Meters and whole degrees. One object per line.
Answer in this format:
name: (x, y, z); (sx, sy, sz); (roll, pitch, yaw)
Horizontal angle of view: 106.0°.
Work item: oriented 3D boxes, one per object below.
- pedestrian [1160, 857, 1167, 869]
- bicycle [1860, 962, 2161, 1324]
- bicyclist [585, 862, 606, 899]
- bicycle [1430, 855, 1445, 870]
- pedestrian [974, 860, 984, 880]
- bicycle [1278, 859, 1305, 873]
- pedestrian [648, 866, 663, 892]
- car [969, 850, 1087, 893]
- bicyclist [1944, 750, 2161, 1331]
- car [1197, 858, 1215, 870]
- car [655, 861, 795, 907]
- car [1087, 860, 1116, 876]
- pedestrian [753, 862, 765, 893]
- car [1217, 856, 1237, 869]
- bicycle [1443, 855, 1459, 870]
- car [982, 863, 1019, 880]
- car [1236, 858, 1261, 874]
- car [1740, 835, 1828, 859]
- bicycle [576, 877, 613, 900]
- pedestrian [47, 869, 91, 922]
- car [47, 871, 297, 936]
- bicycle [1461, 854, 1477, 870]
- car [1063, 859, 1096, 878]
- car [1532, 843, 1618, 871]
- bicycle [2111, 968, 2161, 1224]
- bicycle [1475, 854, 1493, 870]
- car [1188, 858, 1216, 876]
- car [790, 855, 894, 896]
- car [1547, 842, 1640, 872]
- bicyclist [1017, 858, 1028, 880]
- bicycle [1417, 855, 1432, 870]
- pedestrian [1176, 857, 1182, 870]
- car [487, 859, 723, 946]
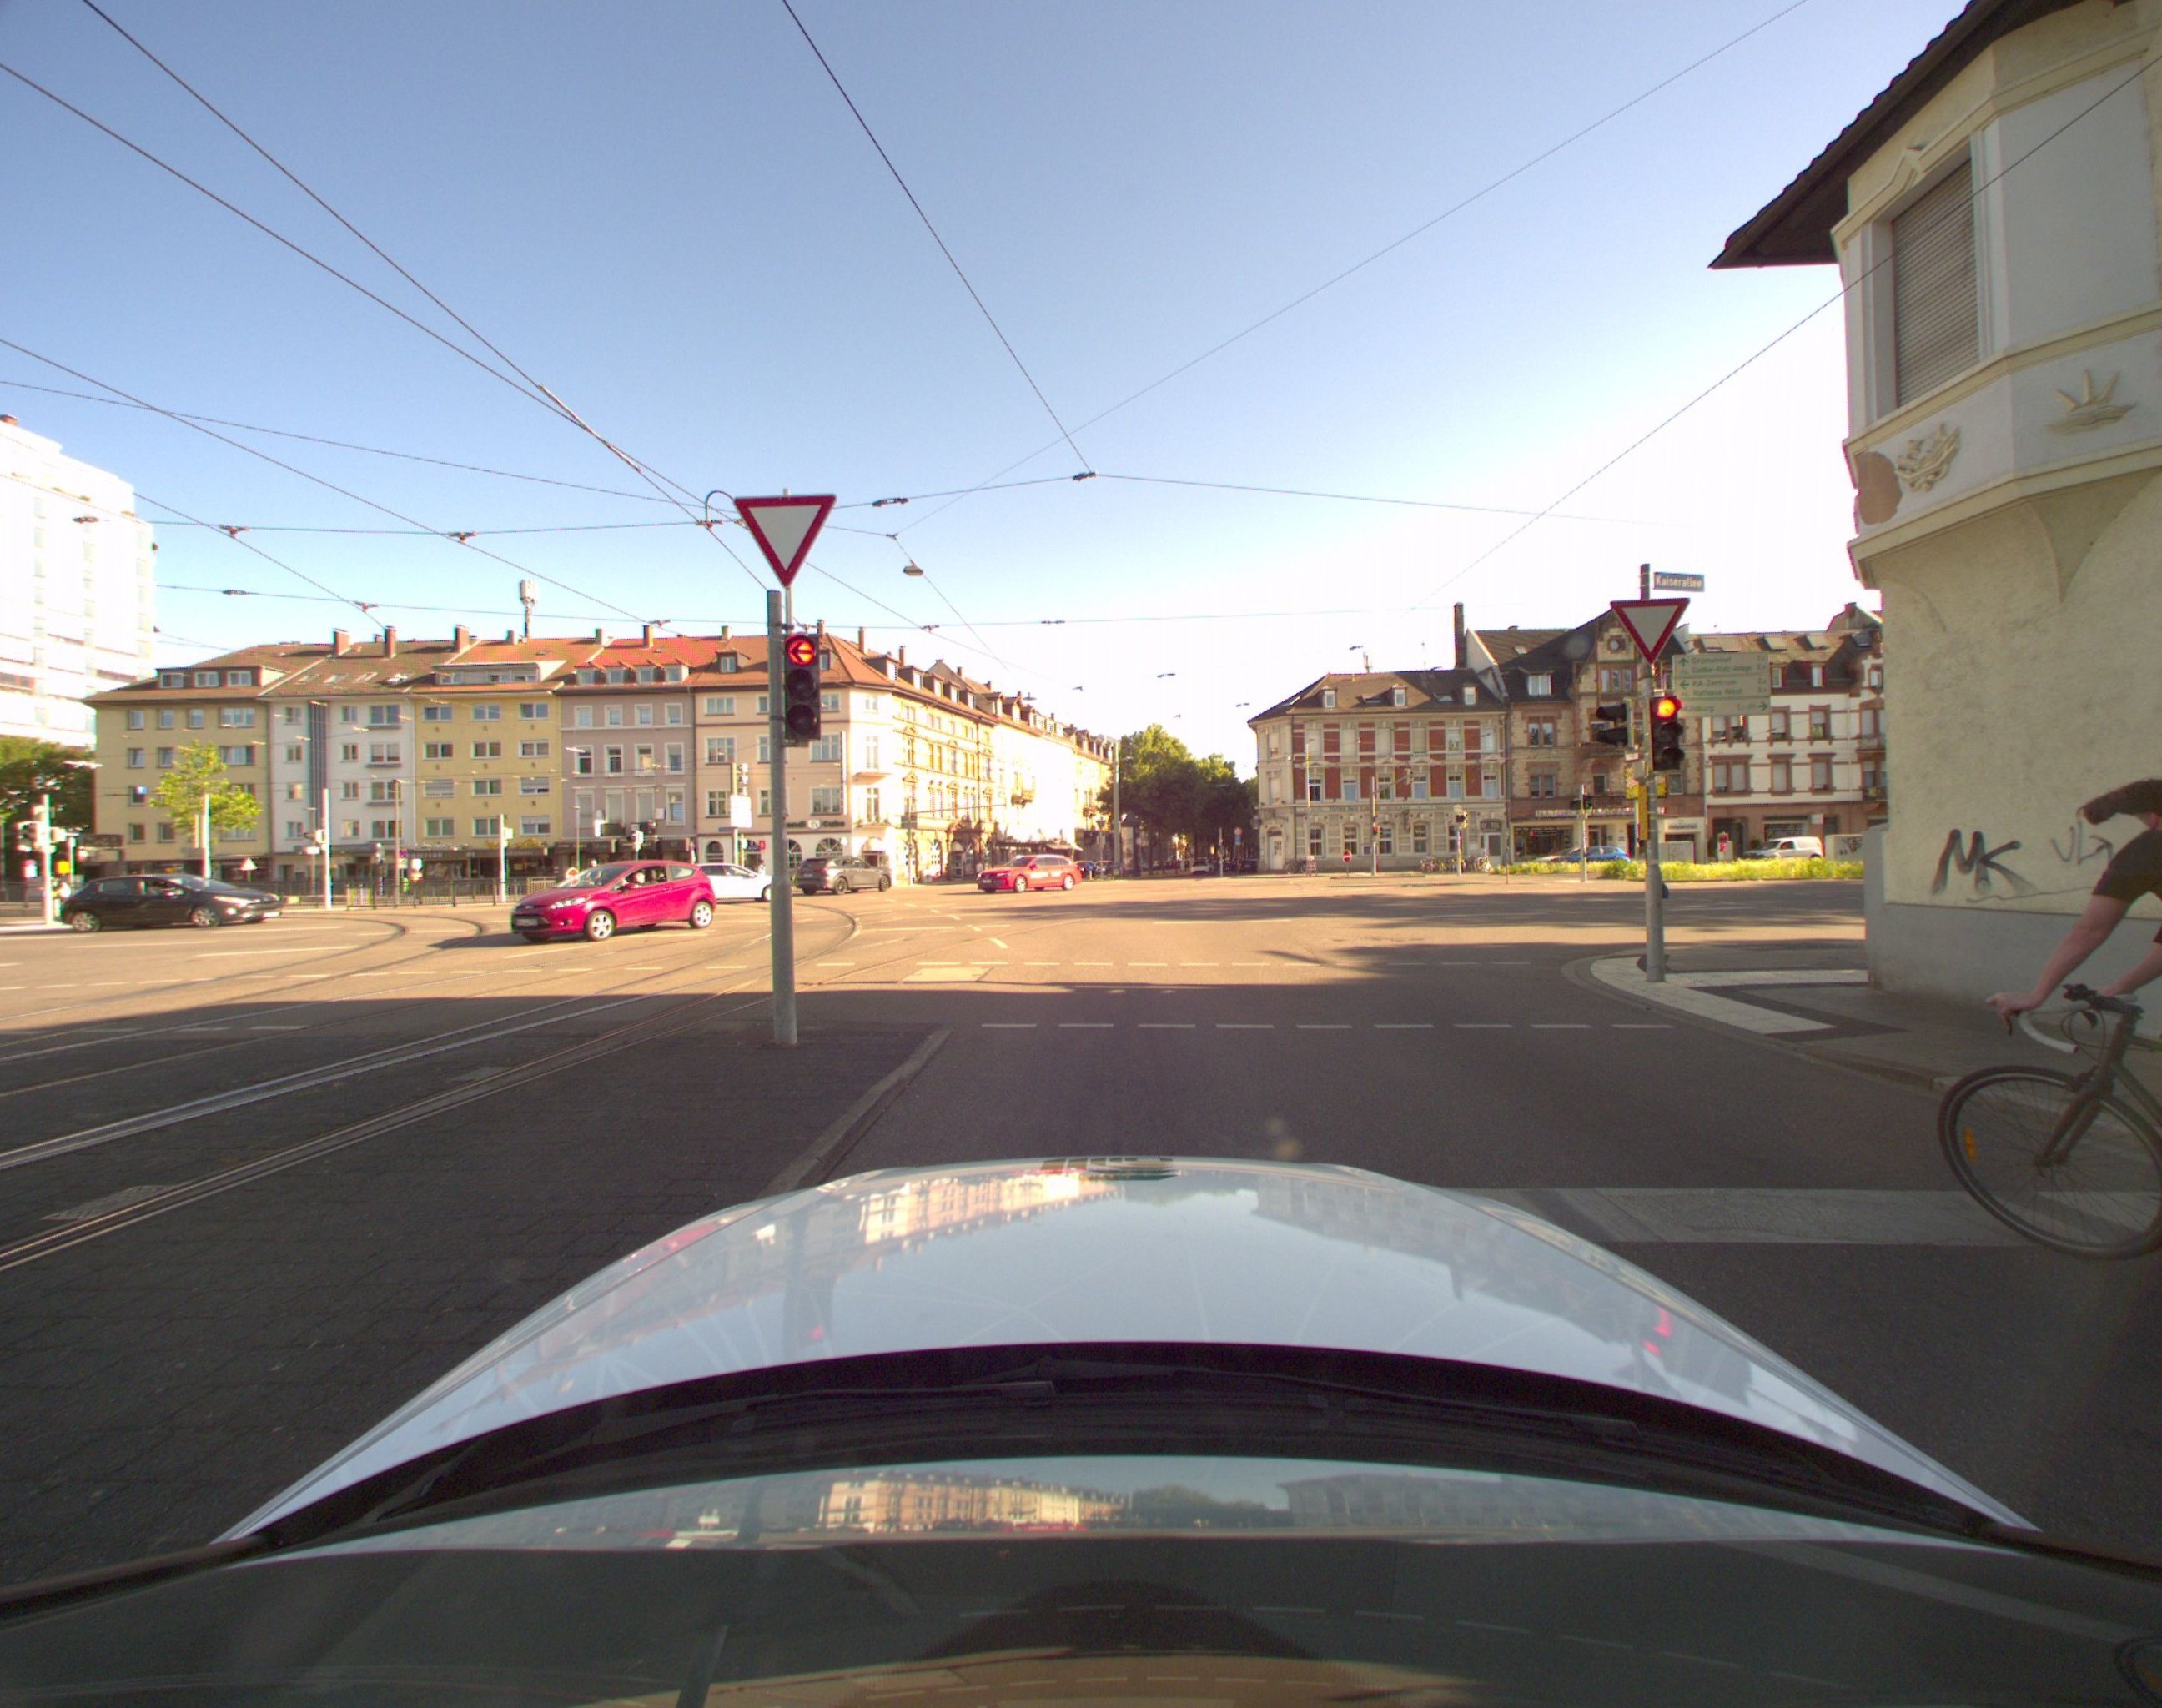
pedestrian: (11.928, 1.280, 117.321); (0.714, 1.790, 0.690); (0, -1, -34)
bicycle: (3.586, 0.957, 2.622); (0.480, 0.991, 1.783); (0, -1, 2)
bicyclist: (-23.651, 1.274, 39.646); (0.618, 1.790, 0.616); (0, -1, 7)
bicycle: (23.260, 0.569, 53.089); (0.758, 0.968, 2.221); (-1, -1, 20)
pedestrian: (-8.610, 1.324, 68.768); (0.562, 1.642, 0.797); (-1, -1, 25)
bicycle: (14.709, 0.829, 56.916); (1.789, 0.963, 0.606); (-1, -1, 16)
pedestrian: (-26.792, 1.584, 51.247); (0.582, 1.648, 0.616); (0, -1, 1)
car: (-2.034, 0.649, 32.599); (1.780, 1.469, 4.905); (0, 1, 40)
bicyclist: (3.582, 0.568, 2.626); (0.587, 1.767, 0.936); (0, -1, 2)
car: (17.883, 1.355, 116.368); (1.978, 1.684, 4.018); (-1, -1, 17)
car: (-12.510, 1.010, 28.681); (4.246, 1.389, 1.716); (-2, 0, -35)
car: (2.073, 1.362, 79.657); (1.788, 1.575, 3.908); (-1, -1, 17)
pedestrian: (-19.663, 1.429, 49.751); (0.526, 1.823, 0.675); (0, -1, -6)
car: (16.437, 0.948, 91.670); (1.812, 1.403, 4.016); (-1, 0, 15)
bicycle: (24.047, 0.562, 52.965); (0.758, 0.983, 2.221); (-1, -1, 20)
car: (-6.659, 1.446, 67.564); (1.647, 1.374, 3.909); (-1, -1, 17)
car: (16.972, 1.219, 82.173); (1.741, 1.556, 4.021); (-1, -1, 22)
car: (45.219, -0.445, 52.428); (3.961, 1.438, 1.874); (0, -1, 5)
bicycle: (-23.649, 1.660, 39.621); (0.618, 1.030, 1.758); (0, -1, 7)
pedestrian: (-31.694, 1.289, 25.515); (0.770, 1.609, 0.605); (0, -1, -44)
car: (-25.072, 1.315, 22.655); (4.199, 1.517, 1.992); (-2, 0, -12)
bicycle: (25.190, 0.541, 52.873); (0.758, 1.007, 2.231); (-1, -1, 20)
car: (-0.069, 1.291, 73.401); (1.809, 1.685, 3.893); (-1, -1, 18)
car: (29.179, 0.196, 48.208); (3.970, 1.622, 1.806); (0, -1, 3)
bicycle: (4.457, 0.950, 2.443); (0.501, 0.983, 1.783); (0, -1, 2)
bicycle: (26.059, 0.532, 52.698); (0.785, 1.016, 2.221); (-1, -1, 20)
car: (11.357, 1.187, 76.233); (1.877, 1.454, 4.028); (-2, 0, 19)
car: (-10.372, 0.882, 35.674); (1.851, 1.602, 4.480); (-2, 0, 25)
car: (28.329, 0.176, 45.113); (3.970, 1.622, 1.806); (0, -1, 3)
bicyclist: (-4.741, 1.219, 65.611); (0.561, 1.804, 0.918); (-1, -1, 17)
bicycle: (22.505, 0.576, 53.355); (0.758, 0.963, 2.221); (-1, -1, 20)
pedestrian: (15.605, 1.470, 129.512); (0.745, 2.014, 1.005); (-1, -1, 27)
car: (-9.136, 0.849, 16.038); (1.577, 1.426, 3.901); (-1, 0, 19)
